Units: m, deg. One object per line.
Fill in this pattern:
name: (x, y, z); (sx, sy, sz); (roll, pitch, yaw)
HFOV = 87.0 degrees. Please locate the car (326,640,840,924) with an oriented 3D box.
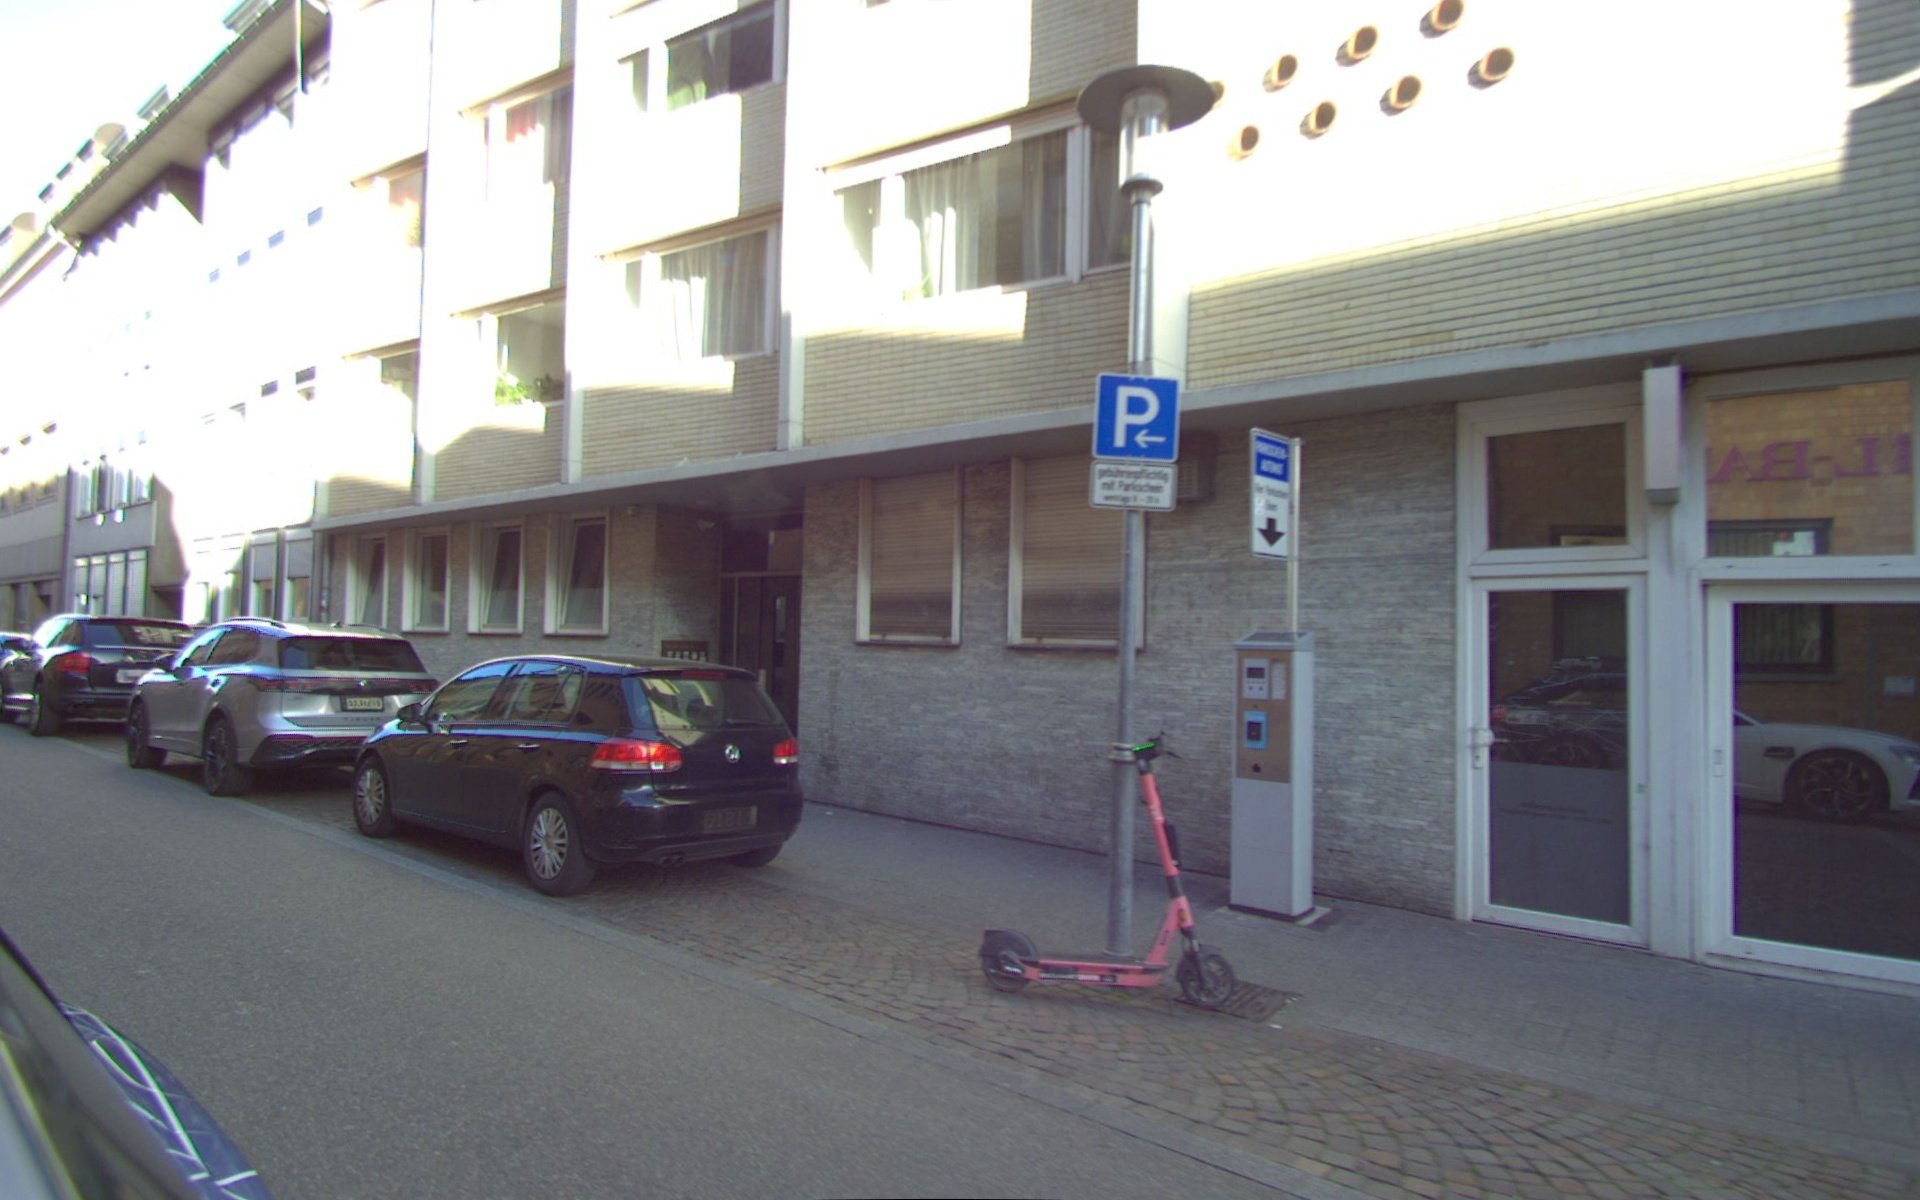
car: (-2.896, 1.107, 7.391); (3.994, 1.472, 1.632); (-1, -6, 39)

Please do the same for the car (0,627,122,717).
car: (-17.774, 1.302, 19.148); (4.331, 1.542, 1.873); (-1, -4, 36)

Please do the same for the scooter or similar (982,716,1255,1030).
scooter or similar: (0.713, 1.198, 4.622); (1.109, 1.207, 0.412); (4, 0, 10)

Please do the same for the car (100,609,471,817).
car: (-7.201, 1.040, 10.657); (4.383, 1.755, 1.872); (-1, -4, 37)

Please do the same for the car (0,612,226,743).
car: (-12.985, 1.129, 15.186); (4.547, 1.688, 1.872); (-1, -7, 38)

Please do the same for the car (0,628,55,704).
car: (-22.210, 1.384, 22.662); (4.721, 1.541, 1.872); (-1, -8, 37)
